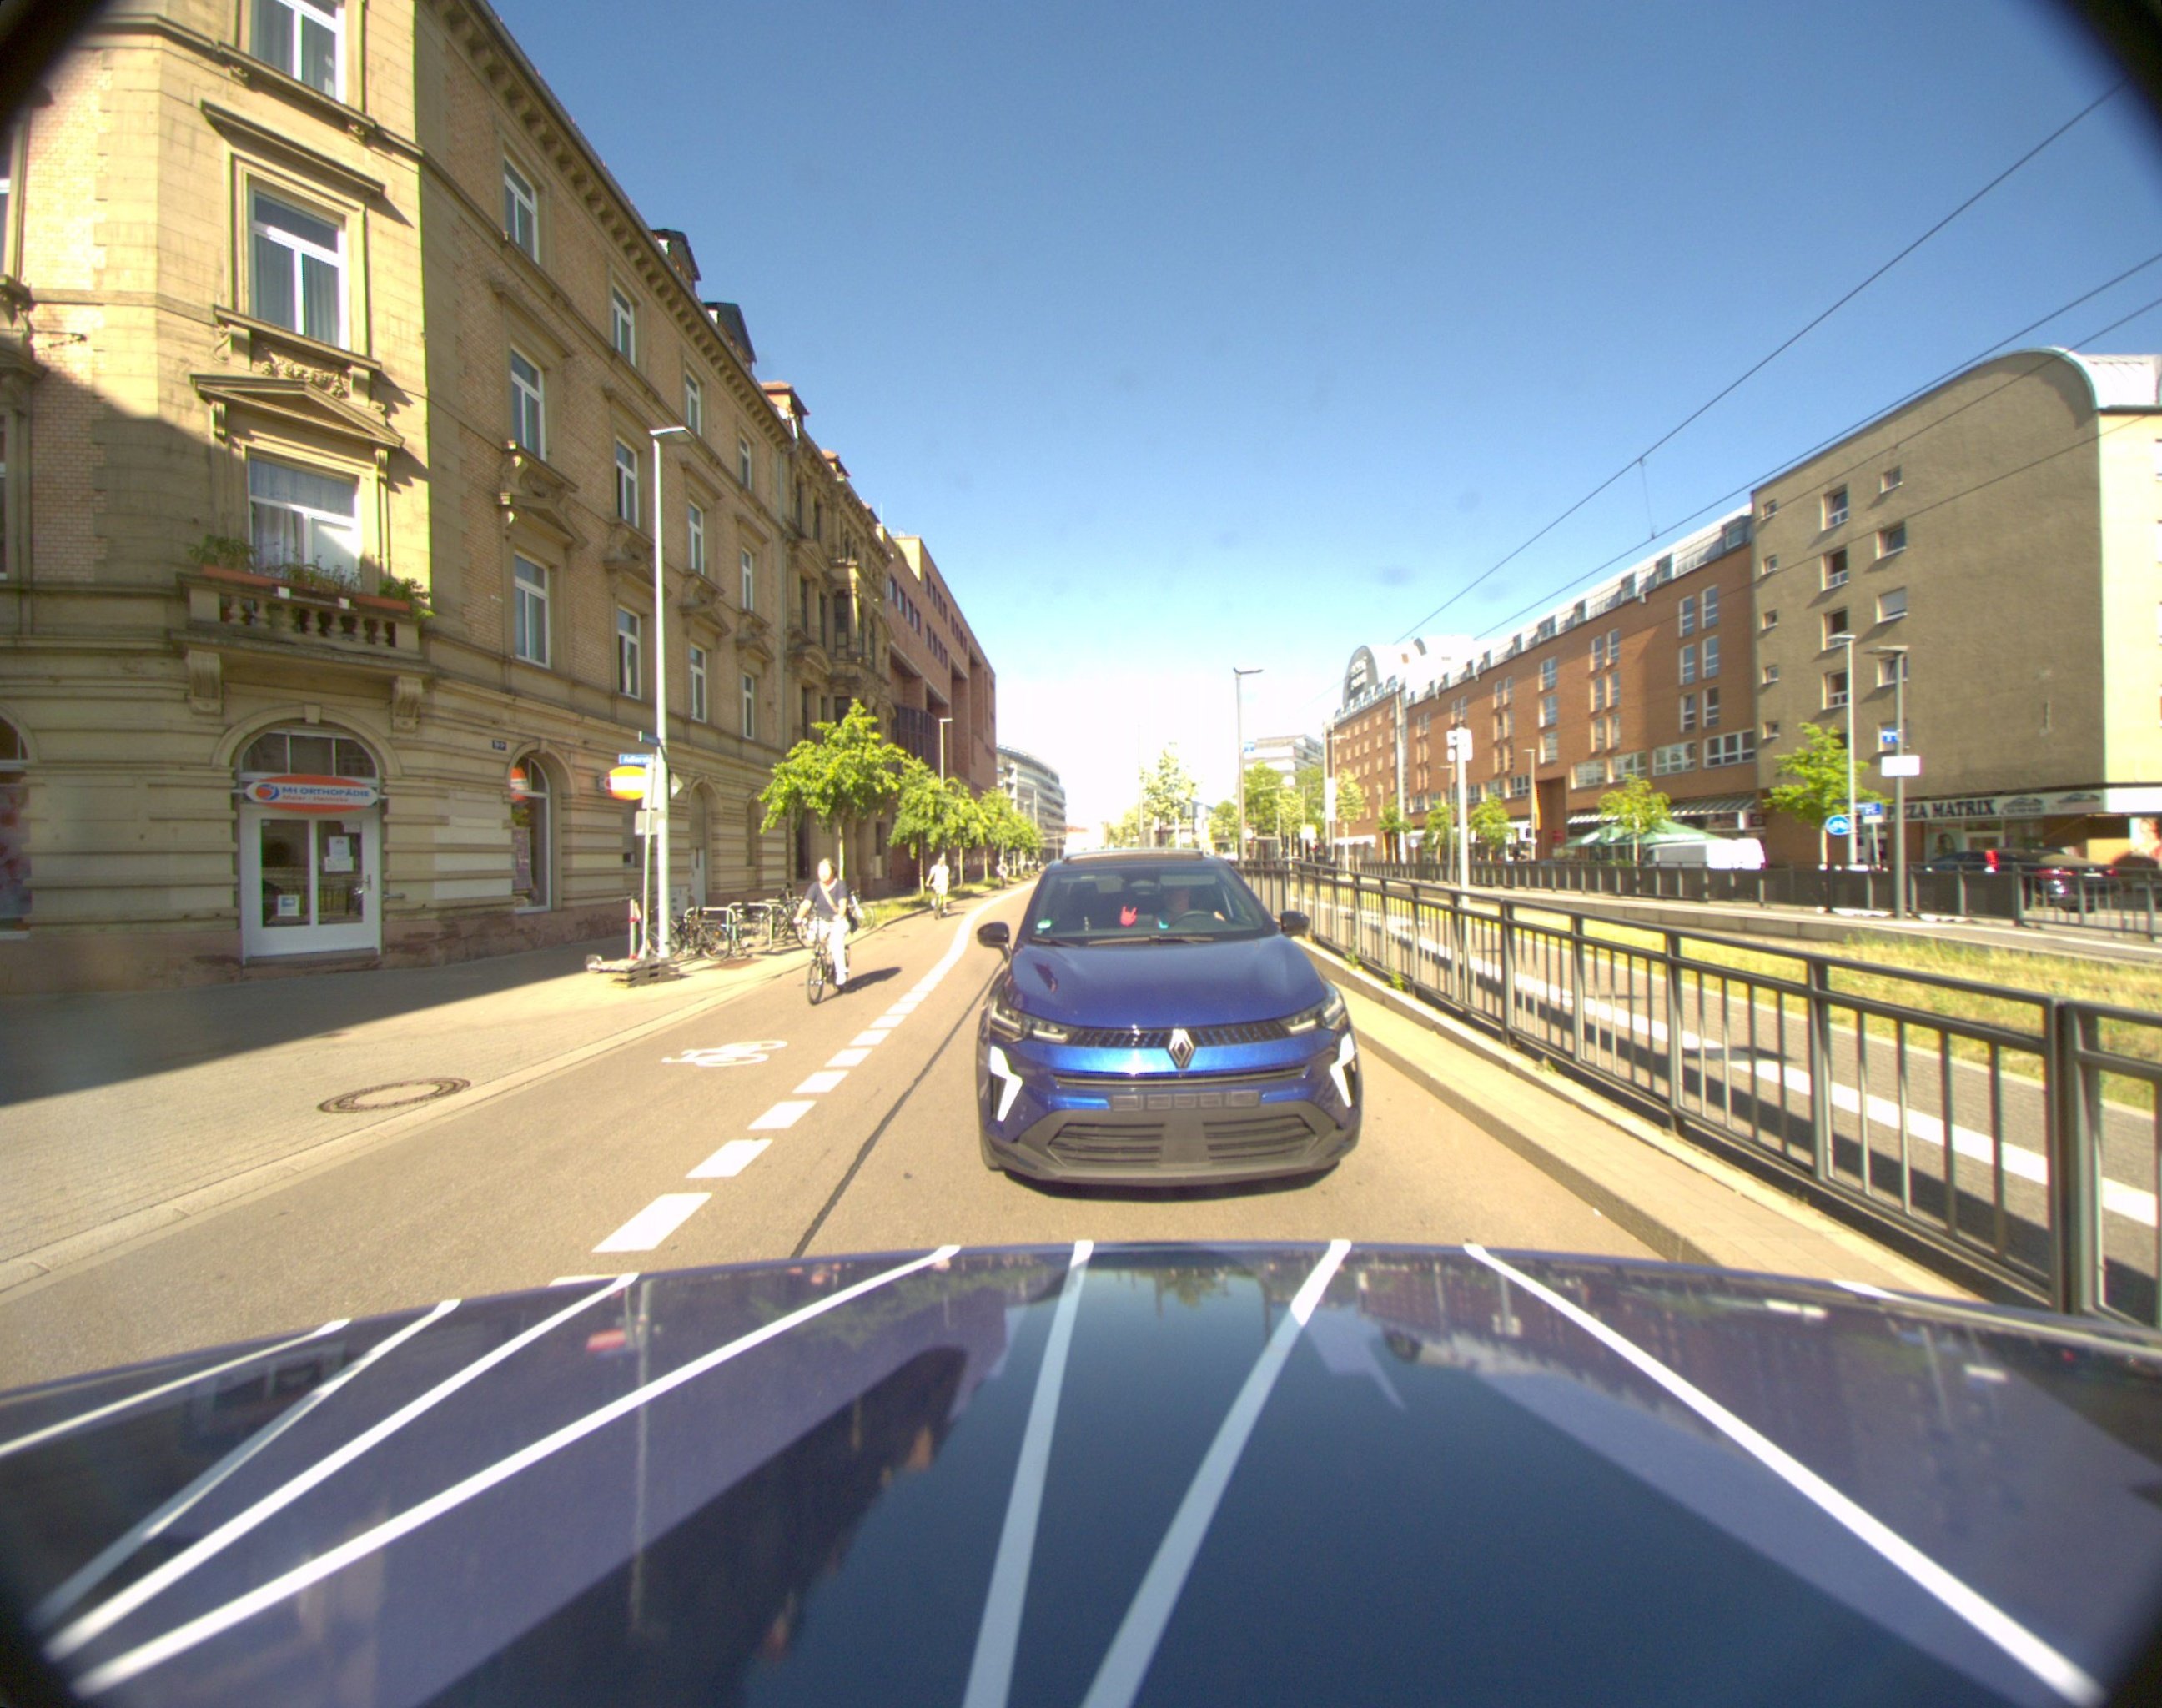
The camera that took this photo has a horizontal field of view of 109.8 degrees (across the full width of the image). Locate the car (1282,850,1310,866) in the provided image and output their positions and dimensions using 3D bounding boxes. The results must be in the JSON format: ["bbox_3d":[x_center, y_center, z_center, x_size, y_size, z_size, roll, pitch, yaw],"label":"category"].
[{"bbox_3d":[24.062,0.442,85.345,1.998,1.674,3.999,-2,1,1],"label":"car"}]

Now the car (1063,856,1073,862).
[{"bbox_3d":[-3.180,1.297,189.763,1.882,1.455,4.001,-2,1,7],"label":"car"}]

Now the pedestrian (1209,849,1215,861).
[{"bbox_3d":[18.387,0.132,106.623,0.608,1.560,0.910,-3,-1,28],"label":"pedestrian"}]

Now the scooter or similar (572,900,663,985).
[{"bbox_3d":[-6.768,1.277,11.107,1.113,1.183,0.419,0,0,8],"label":"scooter or similar"}]

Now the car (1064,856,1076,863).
[{"bbox_3d":[-2.520,1.302,173.869,2.120,1.547,4.003,-1,0,9],"label":"car"}]

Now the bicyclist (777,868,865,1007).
[{"bbox_3d":[-3.095,0.961,9.113,0.659,1.528,0.909,-3,0,0],"label":"bicyclist"}]

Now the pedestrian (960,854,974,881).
[{"bbox_3d":[-8.182,0.972,54.620,0.790,1.872,1.106,-1,1,0],"label":"pedestrian"}]

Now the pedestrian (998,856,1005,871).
[{"bbox_3d":[-8.125,0.976,77.515,0.633,1.478,0.736,-1,1,0],"label":"pedestrian"}]

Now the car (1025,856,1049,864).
[{"bbox_3d":[-8.496,1.149,146.159,4.142,1.602,1.785,-1,0,23],"label":"car"}]

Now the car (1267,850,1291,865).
[{"bbox_3d":[24.640,0.442,94.654,1.998,1.674,3.999,-2,1,1],"label":"car"}]

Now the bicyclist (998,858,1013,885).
[{"bbox_3d":[-4.688,1.062,47.235,0.755,1.607,0.762,-3,0,4],"label":"bicyclist"}]

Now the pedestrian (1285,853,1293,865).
[{"bbox_3d":[29.381,0.680,107.264,0.780,1.745,0.715,-1,1,-31],"label":"pedestrian"}]

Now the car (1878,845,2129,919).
[{"bbox_3d":[24.181,0.673,20.181,1.819,1.749,4.000,-1,0,0],"label":"car"}]

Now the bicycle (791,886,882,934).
[{"bbox_3d":[-6.023,1.384,18.820,2.001,1.086,0.846,1,0,-9],"label":"bicycle"}]

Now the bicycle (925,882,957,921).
[{"bbox_3d":[-4.256,1.436,23.206,0.578,1.090,1.507,-3,0,2],"label":"bicycle"}]

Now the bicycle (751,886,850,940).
[{"bbox_3d":[-6.450,1.347,17.525,1.999,1.121,0.710,1,0,2],"label":"bicycle"}]

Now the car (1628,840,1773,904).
[{"bbox_3d":[25.345,0.670,31.428,1.997,2.356,5.649,-1,0,8],"label":"car"}]

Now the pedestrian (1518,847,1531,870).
[{"bbox_3d":[34.944,0.362,59.909,0.622,1.830,0.645,-1,1,1],"label":"pedestrian"}]

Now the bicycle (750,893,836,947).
[{"bbox_3d":[-6.130,1.394,16.209,1.603,1.039,0.607,1,0,4],"label":"bicycle"}]

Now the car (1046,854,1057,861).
[{"bbox_3d":[-6.775,0.767,174.211,1.882,1.455,4.001,-2,1,7],"label":"car"}]

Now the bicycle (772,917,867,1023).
[{"bbox_3d":[-3.079,1.333,9.079,0.558,1.021,1.507,-3,0,0],"label":"bicycle"}]

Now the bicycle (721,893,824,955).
[{"bbox_3d":[-5.927,1.335,14.650,1.727,1.094,0.607,1,0,4],"label":"bicycle"}]

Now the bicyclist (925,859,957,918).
[{"bbox_3d":[-4.267,1.029,23.175,0.684,1.718,0.909,-3,0,2],"label":"bicyclist"}]

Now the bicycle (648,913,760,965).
[{"bbox_3d":[-6.525,1.460,13.181,1.673,0.816,0.607,0,0,7],"label":"bicycle"}]

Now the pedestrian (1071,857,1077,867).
[{"bbox_3d":[-0.953,1.103,106.161,0.774,1.478,0.686,-1,0,1],"label":"pedestrian"}]

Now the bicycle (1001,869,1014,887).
[{"bbox_3d":[-4.569,1.492,47.316,0.578,1.090,1.507,-3,0,3],"label":"bicycle"}]

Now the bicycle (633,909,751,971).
[{"bbox_3d":[-6.397,1.396,12.513,1.673,0.938,0.607,0,0,8],"label":"bicycle"}]

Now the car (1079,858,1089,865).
[{"bbox_3d":[0.706,1.695,172.608,1.882,1.455,4.002,-2,1,8],"label":"car"}]

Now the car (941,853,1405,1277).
[{"bbox_3d":[0.398,0.856,5.055,1.802,1.596,3.999,-2,1,1],"label":"car"}]

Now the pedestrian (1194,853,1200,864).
[{"bbox_3d":[16.043,0.601,105.190,0.608,1.560,0.728,-1,0,21],"label":"pedestrian"}]
